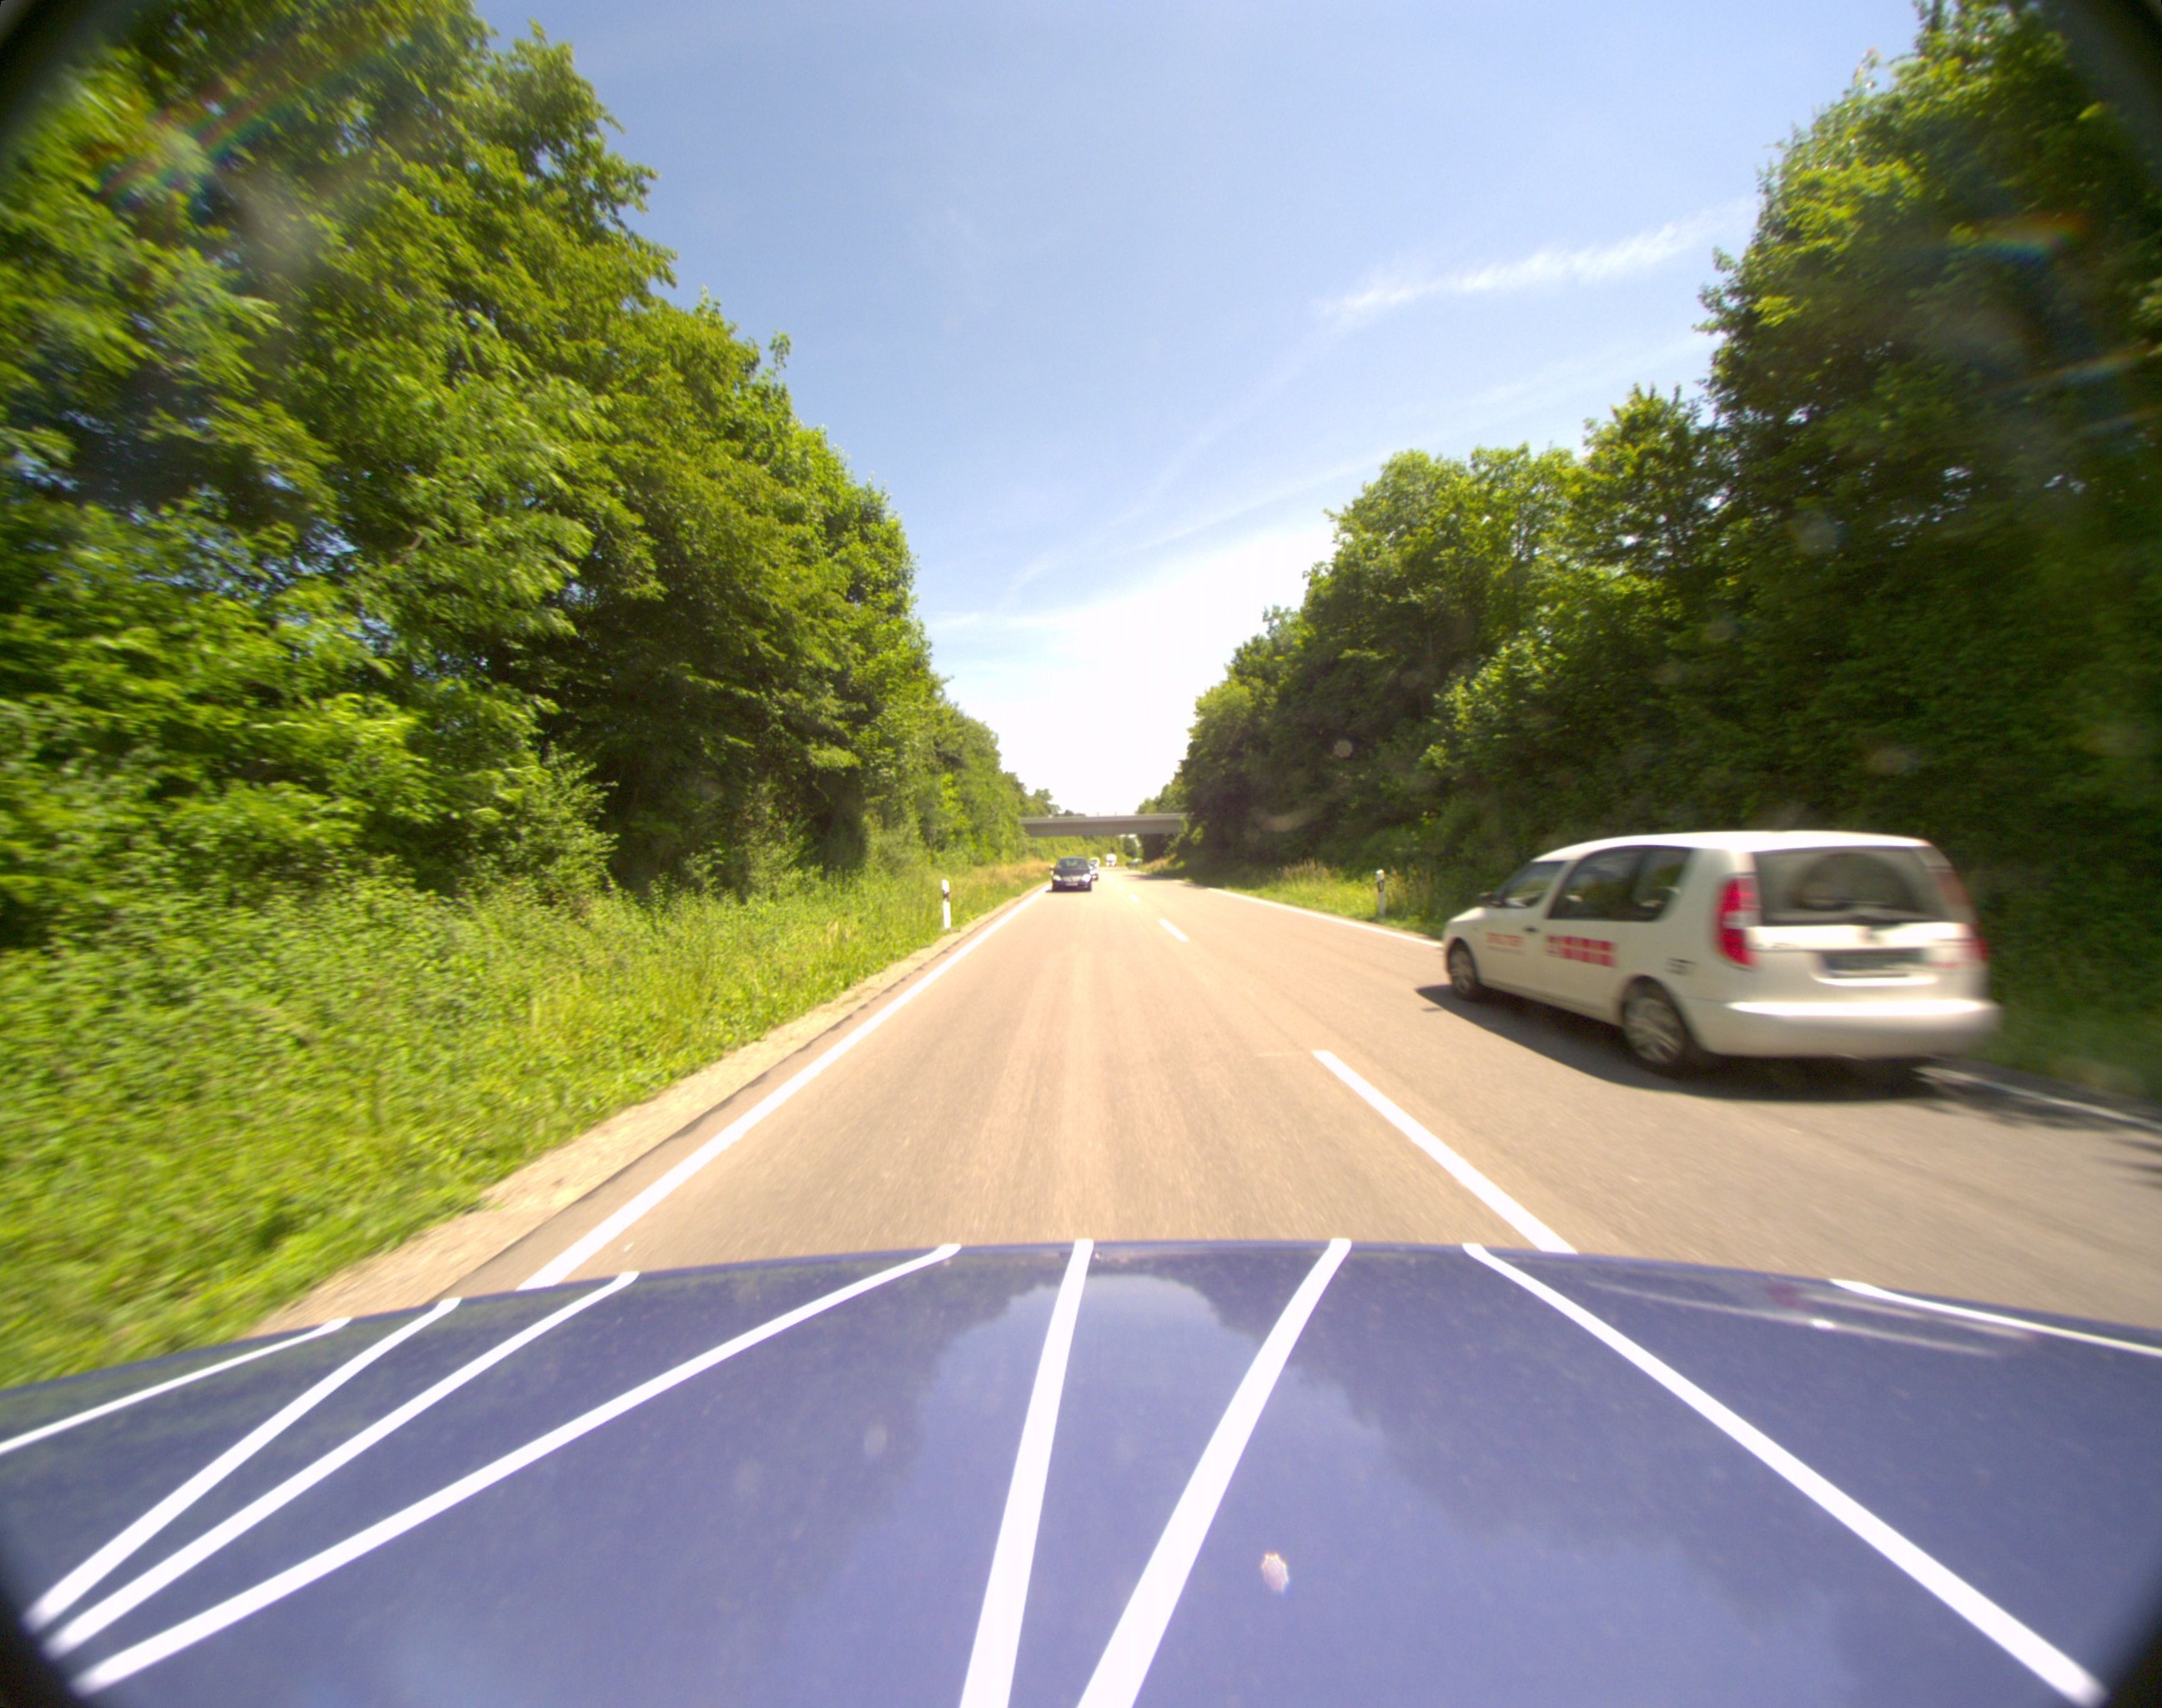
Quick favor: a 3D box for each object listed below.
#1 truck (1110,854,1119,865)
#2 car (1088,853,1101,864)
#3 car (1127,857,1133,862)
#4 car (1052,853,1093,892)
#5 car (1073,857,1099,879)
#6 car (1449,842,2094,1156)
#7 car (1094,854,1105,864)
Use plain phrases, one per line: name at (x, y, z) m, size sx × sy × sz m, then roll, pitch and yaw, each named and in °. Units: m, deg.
truck at (10.432, 1.615, 235.512) m, size 2.576 × 3.111 × 11.201 m, roll -4°, pitch 1°, yaw 4°
car at (2.222, 0.743, 125.423) m, size 2.045 × 1.743 × 4.166 m, roll -2°, pitch 0°, yaw 0°
car at (15.537, 1.756, 240.925) m, size 1.863 × 1.497 × 4.587 m, roll -1°, pitch 0°, yaw 2°
car at (-0.341, 0.821, 35.466) m, size 1.783 × 1.676 × 4.779 m, roll -1°, pitch 0°, yaw 1°
car at (0.320, 0.934, 52.856) m, size 1.709 × 1.444 × 5.415 m, roll -1°, pitch -1°, yaw 0°
car at (4.464, 0.746, 5.801) m, size 1.516 × 1.583 × 3.793 m, roll -1°, pitch 0°, yaw 1°
car at (3.609, 0.961, 147.572) m, size 1.998 × 2.002 × 4.000 m, roll -1°, pitch 0°, yaw 1°
